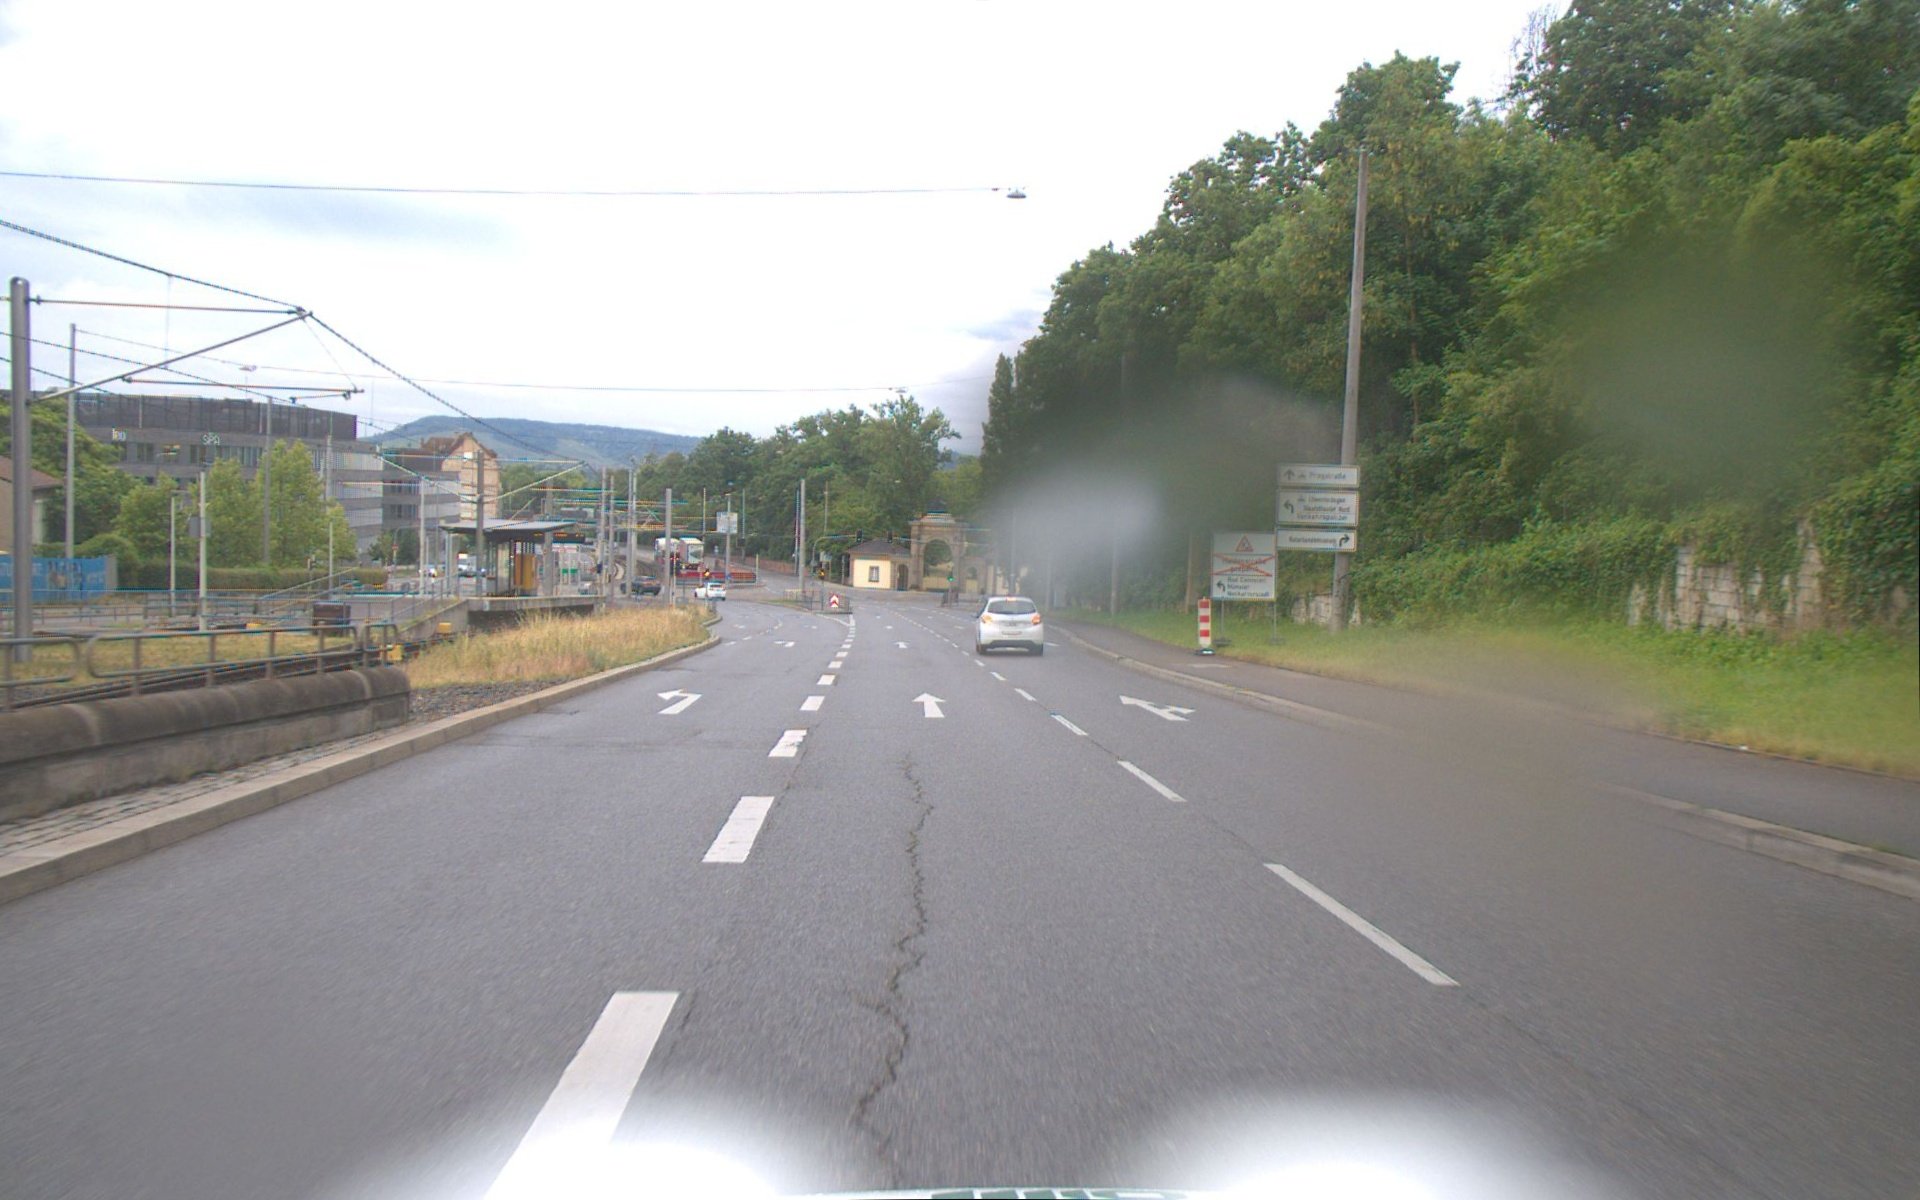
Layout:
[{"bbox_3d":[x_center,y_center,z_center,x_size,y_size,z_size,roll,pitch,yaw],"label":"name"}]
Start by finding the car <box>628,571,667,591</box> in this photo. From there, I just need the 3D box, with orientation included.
[{"bbox_3d":[-28.544,-1.745,150.969,1.979,1.735,3.946,1,0,-38],"label":"car"}]

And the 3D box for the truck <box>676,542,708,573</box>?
[{"bbox_3d":[-42.084,-6.631,259.307,3.359,4.649,11.239,4,0,-16],"label":"truck"}]

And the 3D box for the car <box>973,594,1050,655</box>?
[{"bbox_3d":[1.310,0.621,43.516,1.830,1.537,3.899,0,0,-1],"label":"car"}]

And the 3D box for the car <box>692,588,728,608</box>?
[{"bbox_3d":[-21.312,-0.192,140.802,1.803,1.634,3.961,0,1,-29],"label":"car"}]
